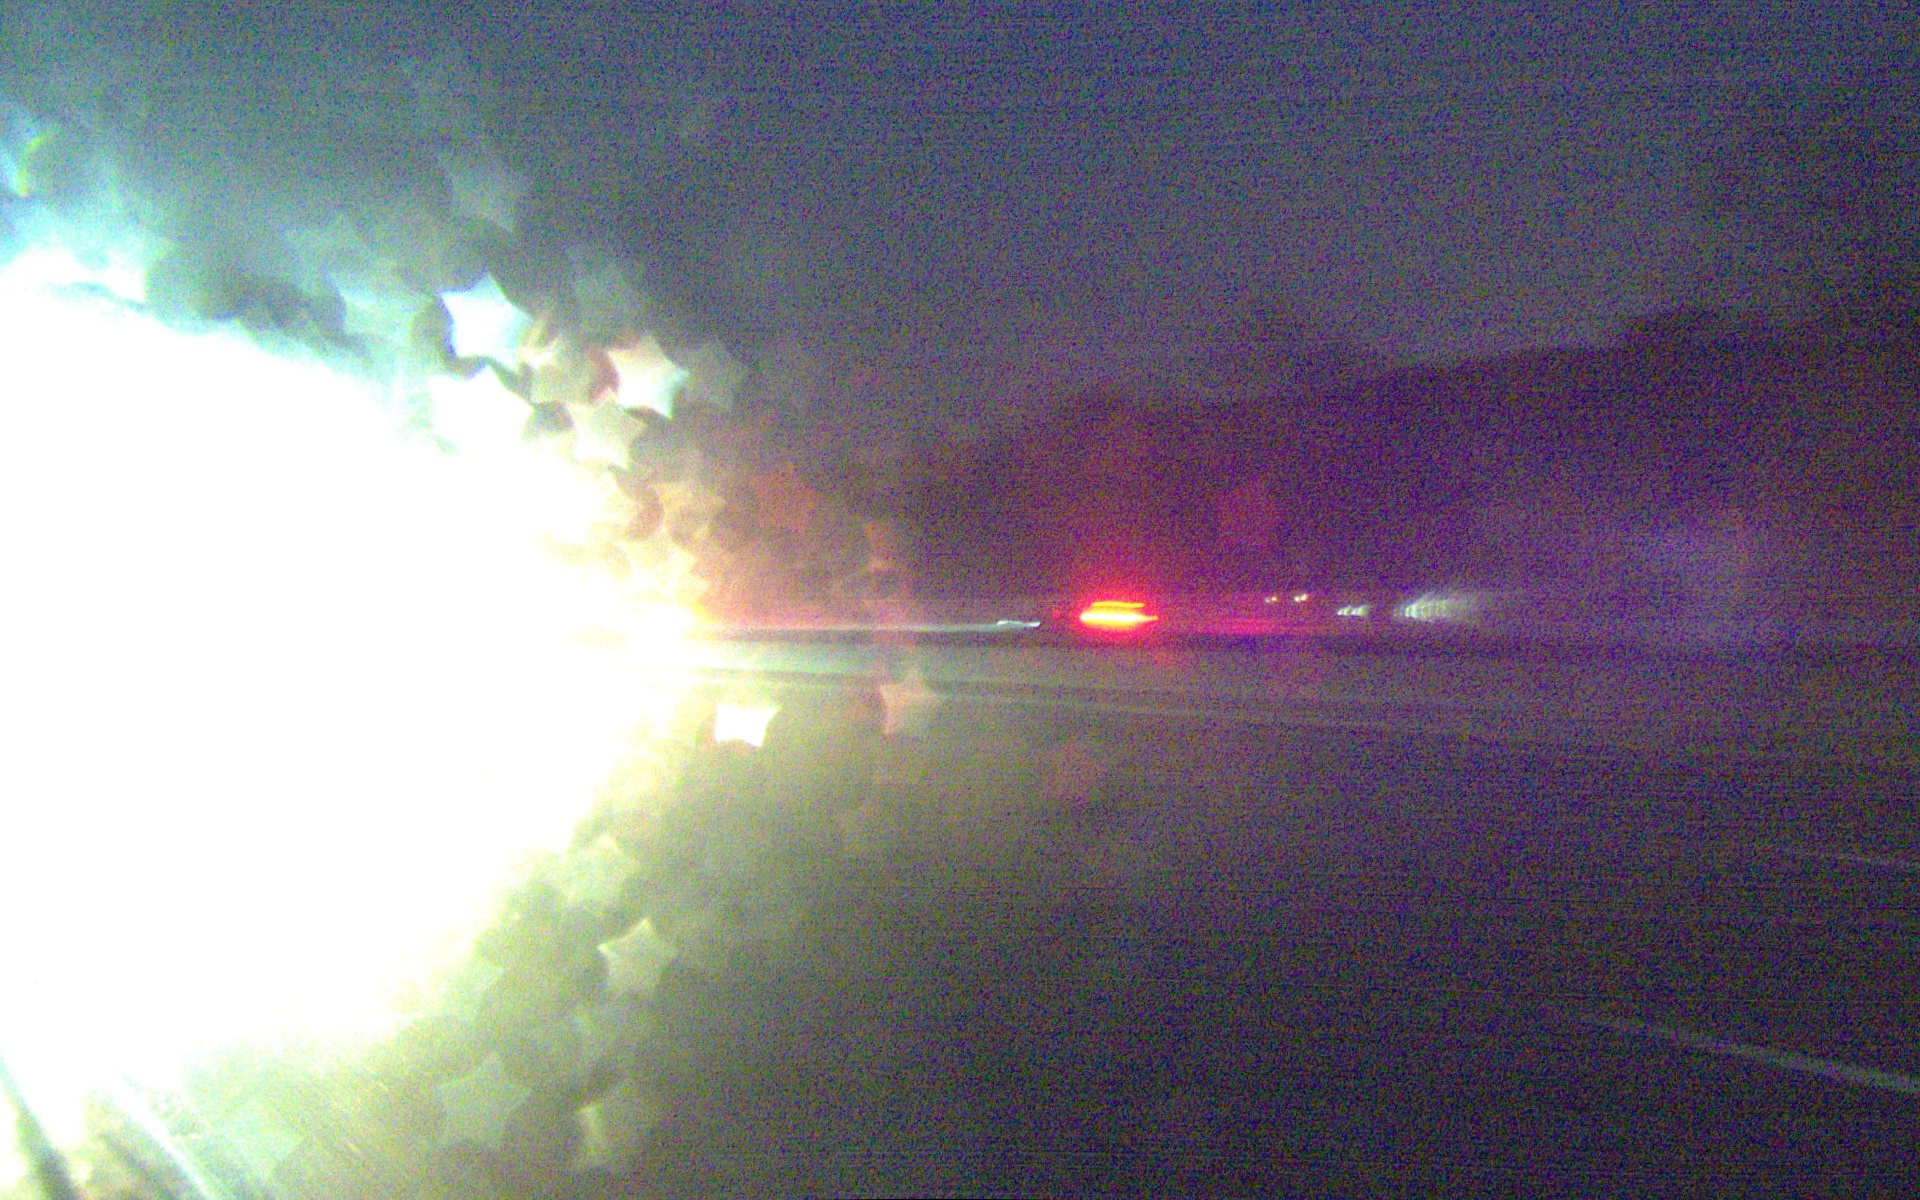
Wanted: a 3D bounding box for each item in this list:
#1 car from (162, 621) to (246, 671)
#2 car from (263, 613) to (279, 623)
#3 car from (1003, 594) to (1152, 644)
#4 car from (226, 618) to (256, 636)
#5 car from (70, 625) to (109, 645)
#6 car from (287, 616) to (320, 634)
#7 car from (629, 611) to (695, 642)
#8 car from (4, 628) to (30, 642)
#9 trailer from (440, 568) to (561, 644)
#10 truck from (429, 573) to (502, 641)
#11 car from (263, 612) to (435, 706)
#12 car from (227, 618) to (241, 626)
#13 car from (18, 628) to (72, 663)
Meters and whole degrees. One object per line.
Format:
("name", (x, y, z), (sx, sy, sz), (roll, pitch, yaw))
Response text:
("car", (-33.357, 1.956, 44.611), (4.528, 2.029, 2.115), (-1, 0, 42))
("car", (-115.664, 3.023, 169.813), (1.754, 1.608, 4.006), (-3, 1, -41))
("car", (4.144, 0.676, 36.259), (5.146, 1.608, 1.759), (-1, 2, 39))
("car", (-71.462, 2.658, 100.602), (1.756, 1.608, 4.002), (-3, 2, -45))
("car", (-75.051, 2.998, 87.244), (2.278, 1.621, 3.874), (-1, 0, -45))
("car", (-63.032, 2.387, 97.146), (4.002, 1.608, 1.756), (-1, 2, 45))
("car", (-16.777, 1.463, 56.838), (1.755, 1.608, 4.227), (-3, 2, -44))
("car", (-86.168, 3.159, 92.476), (1.669, 1.165, 3.422), (-1, 0, -45))
("trailer", (-33.857, 0.465, 74.067), (13.976, 5.106, 3.228), (-1, 0, 45))
("truck", (-38.439, 0.532, 78.535), (6.029, 5.106, 3.228), (-1, 0, 44))
("car", (-12.084, 1.119, 19.894), (4.235, 1.606, 1.894), (-3, -1, 45))
("car", (-147.127, 4.443, 205.058), (1.755, 1.608, 4.004), (-3, 1, -42))
("car", (-49.402, 2.427, 54.615), (4.002, 1.689, 1.971), (-1, 0, 45))
